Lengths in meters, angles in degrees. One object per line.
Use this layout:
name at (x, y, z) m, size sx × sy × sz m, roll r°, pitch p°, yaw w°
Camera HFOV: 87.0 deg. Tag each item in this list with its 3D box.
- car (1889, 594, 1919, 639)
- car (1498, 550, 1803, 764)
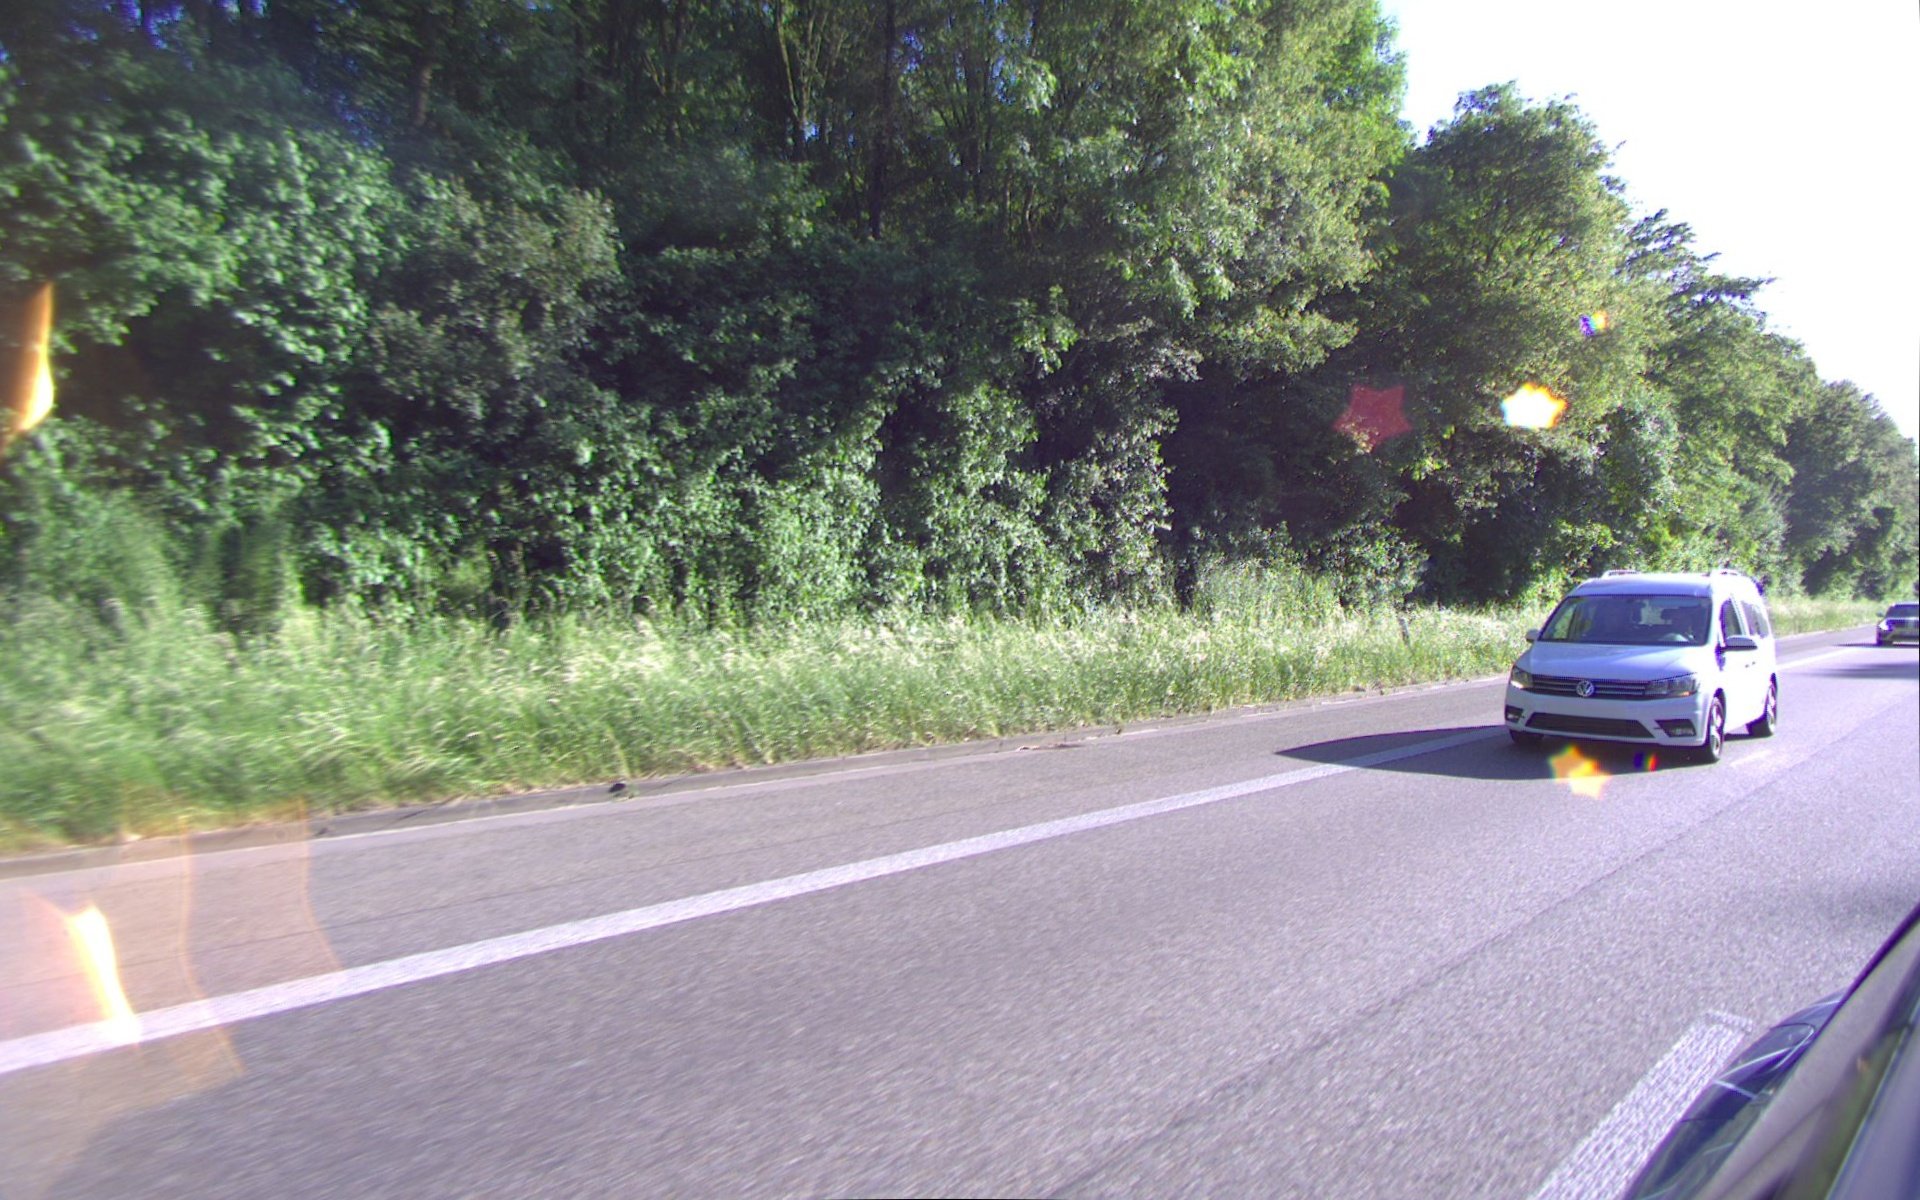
car at (32.808, 0.537, 34.261) m, size 3.813 × 1.467 × 1.791 m, roll 0°, pitch 0°, yaw -44°
car at (7.590, 0.460, 10.925) m, size 4.511 × 1.836 × 1.800 m, roll -1°, pitch 1°, yaw -43°
